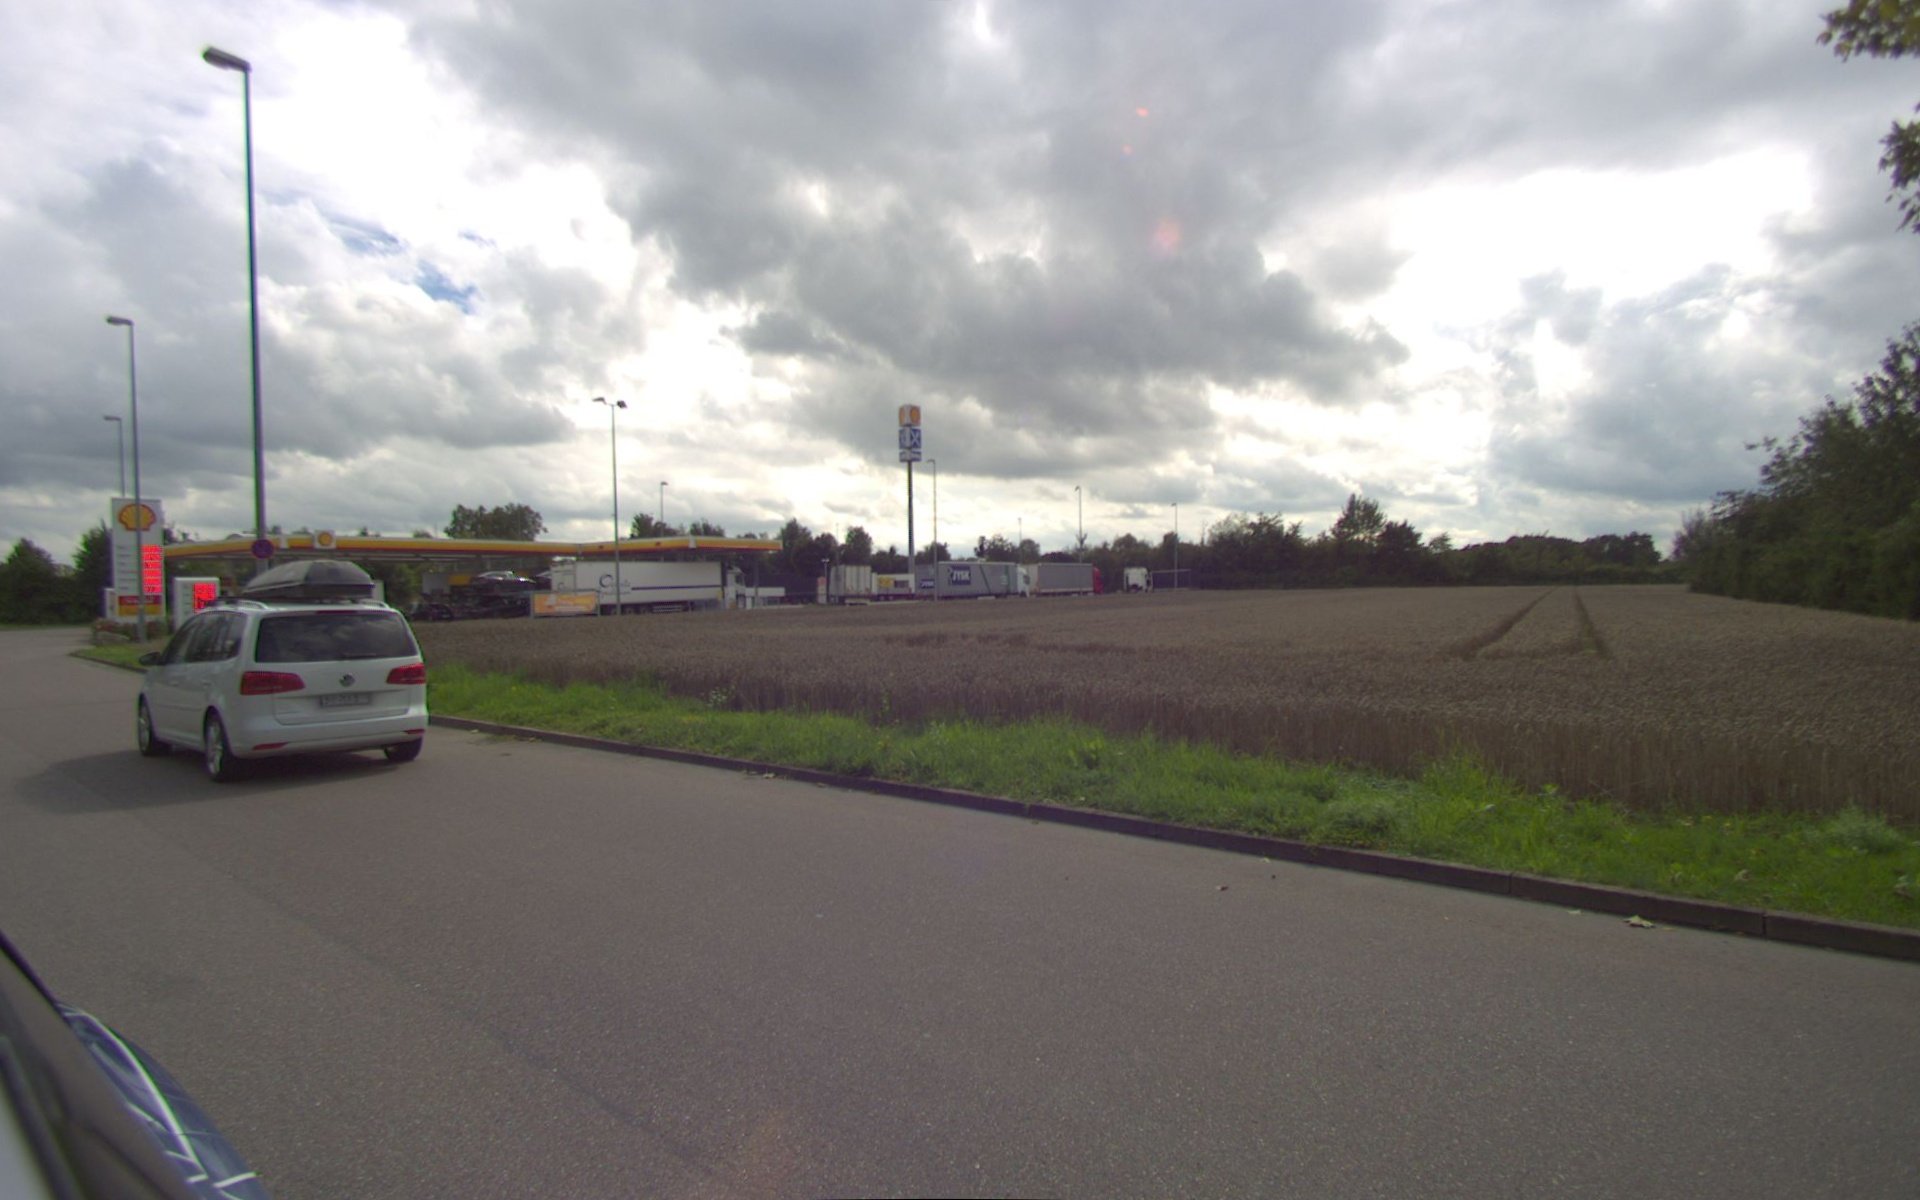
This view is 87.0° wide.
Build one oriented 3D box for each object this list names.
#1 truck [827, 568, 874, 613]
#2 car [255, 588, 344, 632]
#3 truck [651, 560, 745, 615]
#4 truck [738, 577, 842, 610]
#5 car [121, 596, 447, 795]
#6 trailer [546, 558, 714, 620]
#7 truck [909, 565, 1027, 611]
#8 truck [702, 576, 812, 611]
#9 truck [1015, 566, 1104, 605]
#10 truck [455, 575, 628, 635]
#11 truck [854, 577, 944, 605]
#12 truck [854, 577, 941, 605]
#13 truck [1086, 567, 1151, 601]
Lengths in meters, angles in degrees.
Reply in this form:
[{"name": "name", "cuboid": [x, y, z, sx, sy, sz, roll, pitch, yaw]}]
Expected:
[{"name": "truck", "cuboid": [-11.098, -0.980, 101.029, 2.914, 4.143, 14.788, -1, 1, -13]}, {"name": "car", "cuboid": [-44.611, 0.644, 68.550, 2.193, 2.808, 5.808, -2, 0, 0]}, {"name": "truck", "cuboid": [-20.203, -0.967, 78.432, 2.704, 4.055, 7.092, -2, 0, 32]}, {"name": "truck", "cuboid": [-21.455, -0.863, 127.759, 12.799, 3.922, 2.831, -1, 1, -12]}, {"name": "car", "cuboid": [-7.099, 0.838, 10.480, 4.027, 1.678, 1.682, -1, -1, 39]}, {"name": "trailer", "cuboid": [-23.472, -0.816, 73.110, 2.704, 4.055, 12.709, -2, 0, 32]}, {"name": "truck", "cuboid": [1.042, -1.154, 93.507, 2.817, 3.922, 15.282, 0, 1, 34]}, {"name": "truck", "cuboid": [-24.076, -0.754, 120.197, 12.595, 3.922, 2.832, -1, 1, -13]}, {"name": "truck", "cuboid": [10.989, -1.620, 109.018, 2.816, 3.922, 15.289, 0, 1, 33]}, {"name": "truck", "cuboid": [-29.543, 0.200, 72.588, 2.736, 3.953, 13.151, 0, 1, 24]}, {"name": "truck", "cuboid": [-8.733, -1.322, 145.720, 12.595, 3.922, 2.832, -1, 1, -13]}, {"name": "truck", "cuboid": [-9.336, -1.324, 151.410, 12.595, 3.922, 2.832, -1, 1, -13]}, {"name": "truck", "cuboid": [19.583, -1.972, 124.113, 2.817, 3.922, 12.661, 0, 1, 34]}]
